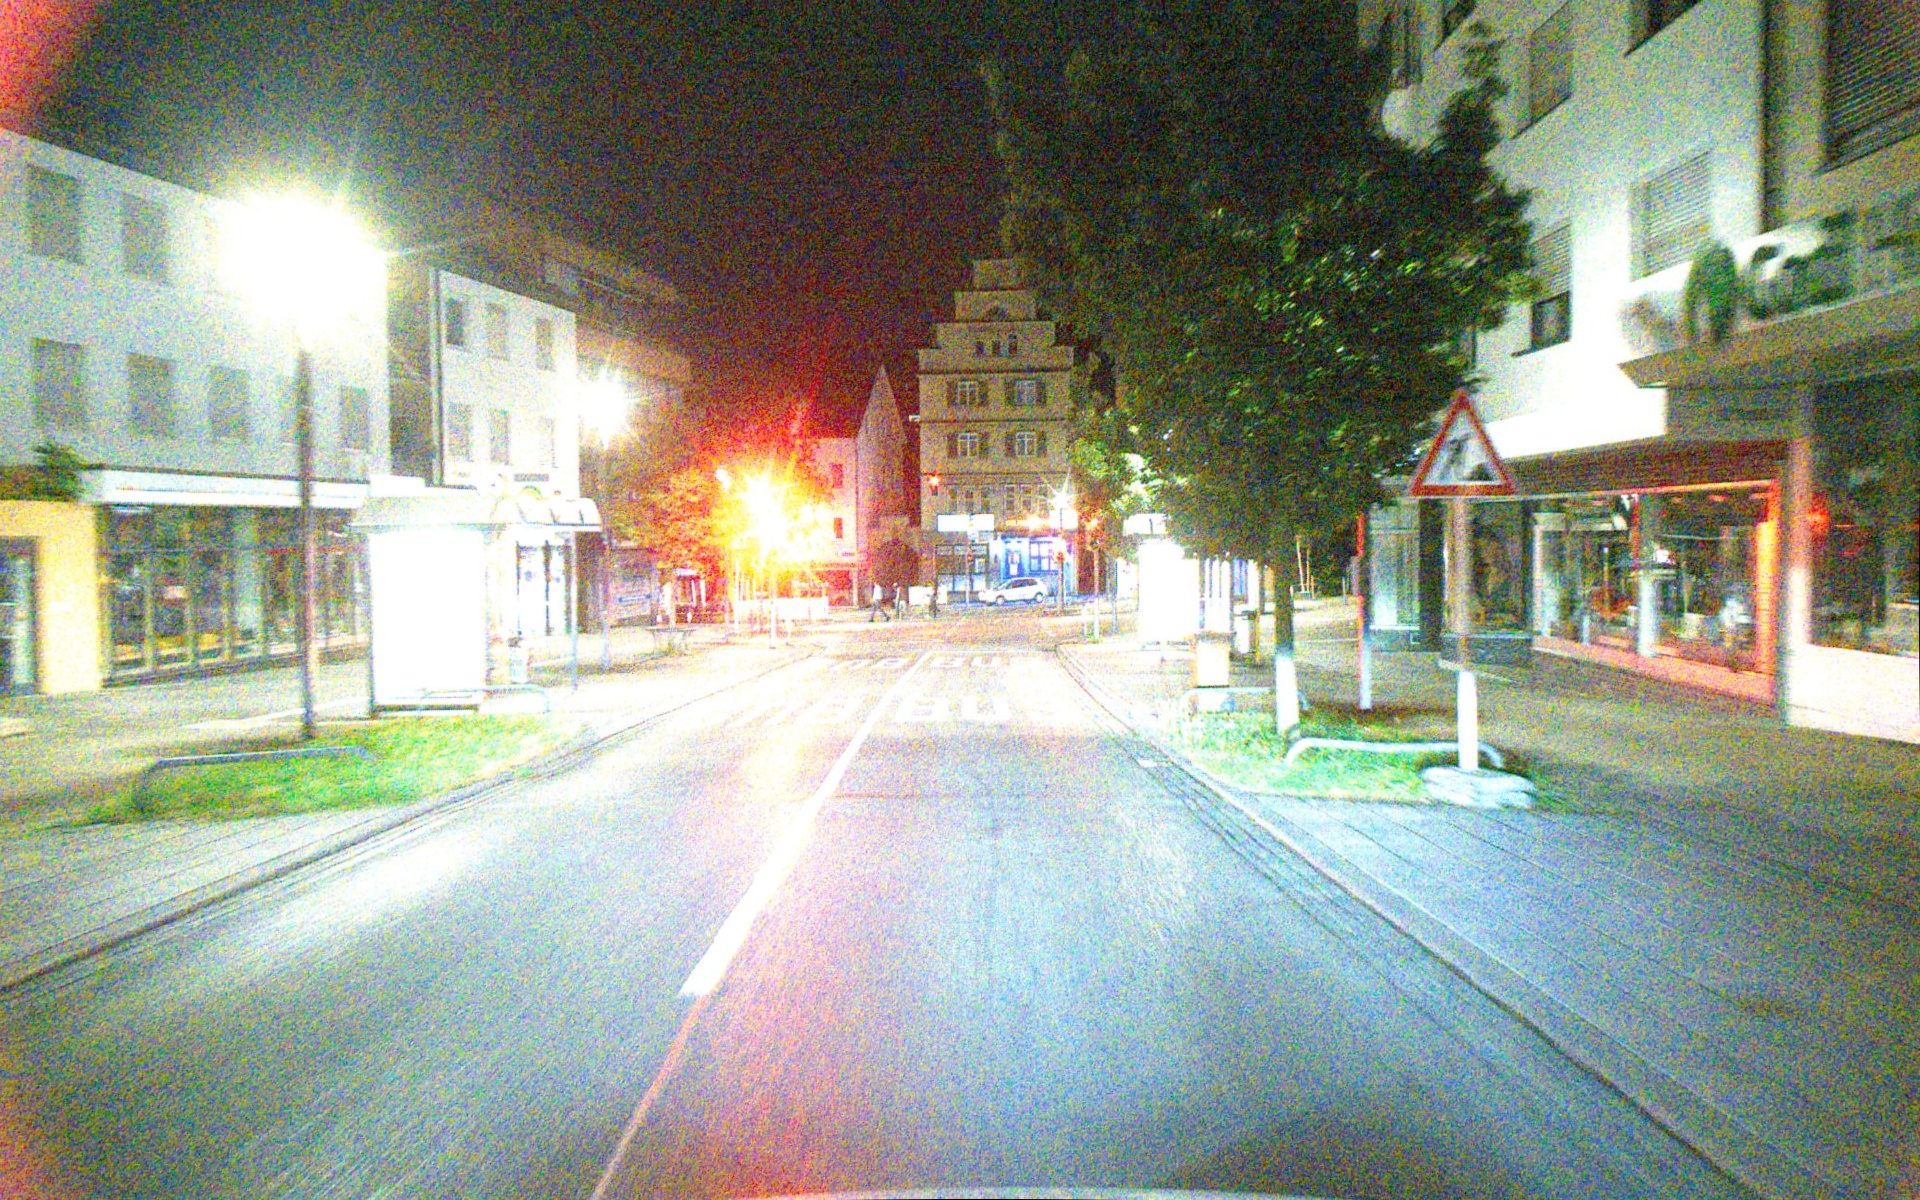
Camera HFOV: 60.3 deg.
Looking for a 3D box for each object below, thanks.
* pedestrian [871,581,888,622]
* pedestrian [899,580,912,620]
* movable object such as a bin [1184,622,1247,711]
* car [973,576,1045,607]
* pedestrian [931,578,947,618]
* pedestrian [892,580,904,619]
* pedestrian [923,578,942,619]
[{"bbox_3d":[-3.618,0.061,74.490,0.702,1.827,0.568,0,-1,-8],"label":"pedestrian"},{"bbox_3d":[-2.485,0.016,75.580,0.556,1.827,0.718,0,-1,-3],"label":"pedestrian"},{"bbox_3d":[2.810,0.725,18.236,0.514,0.953,0.628,0,-1,-10],"label":"movable object such as a bin"},{"bbox_3d":[2.764,-0.456,93.072,3.694,1.646,1.825,0,-1,-18],"label":"car"},{"bbox_3d":[-0.973,-0.085,74.874,0.720,1.827,0.718,0,-1,-2],"label":"pedestrian"},{"bbox_3d":[-2.904,-0.028,77.609,0.556,1.827,0.718,0,-1,-3],"label":"pedestrian"},{"bbox_3d":[-1.249,-0.058,75.485,0.564,1.827,0.708,1,-2,-39],"label":"pedestrian"}]
